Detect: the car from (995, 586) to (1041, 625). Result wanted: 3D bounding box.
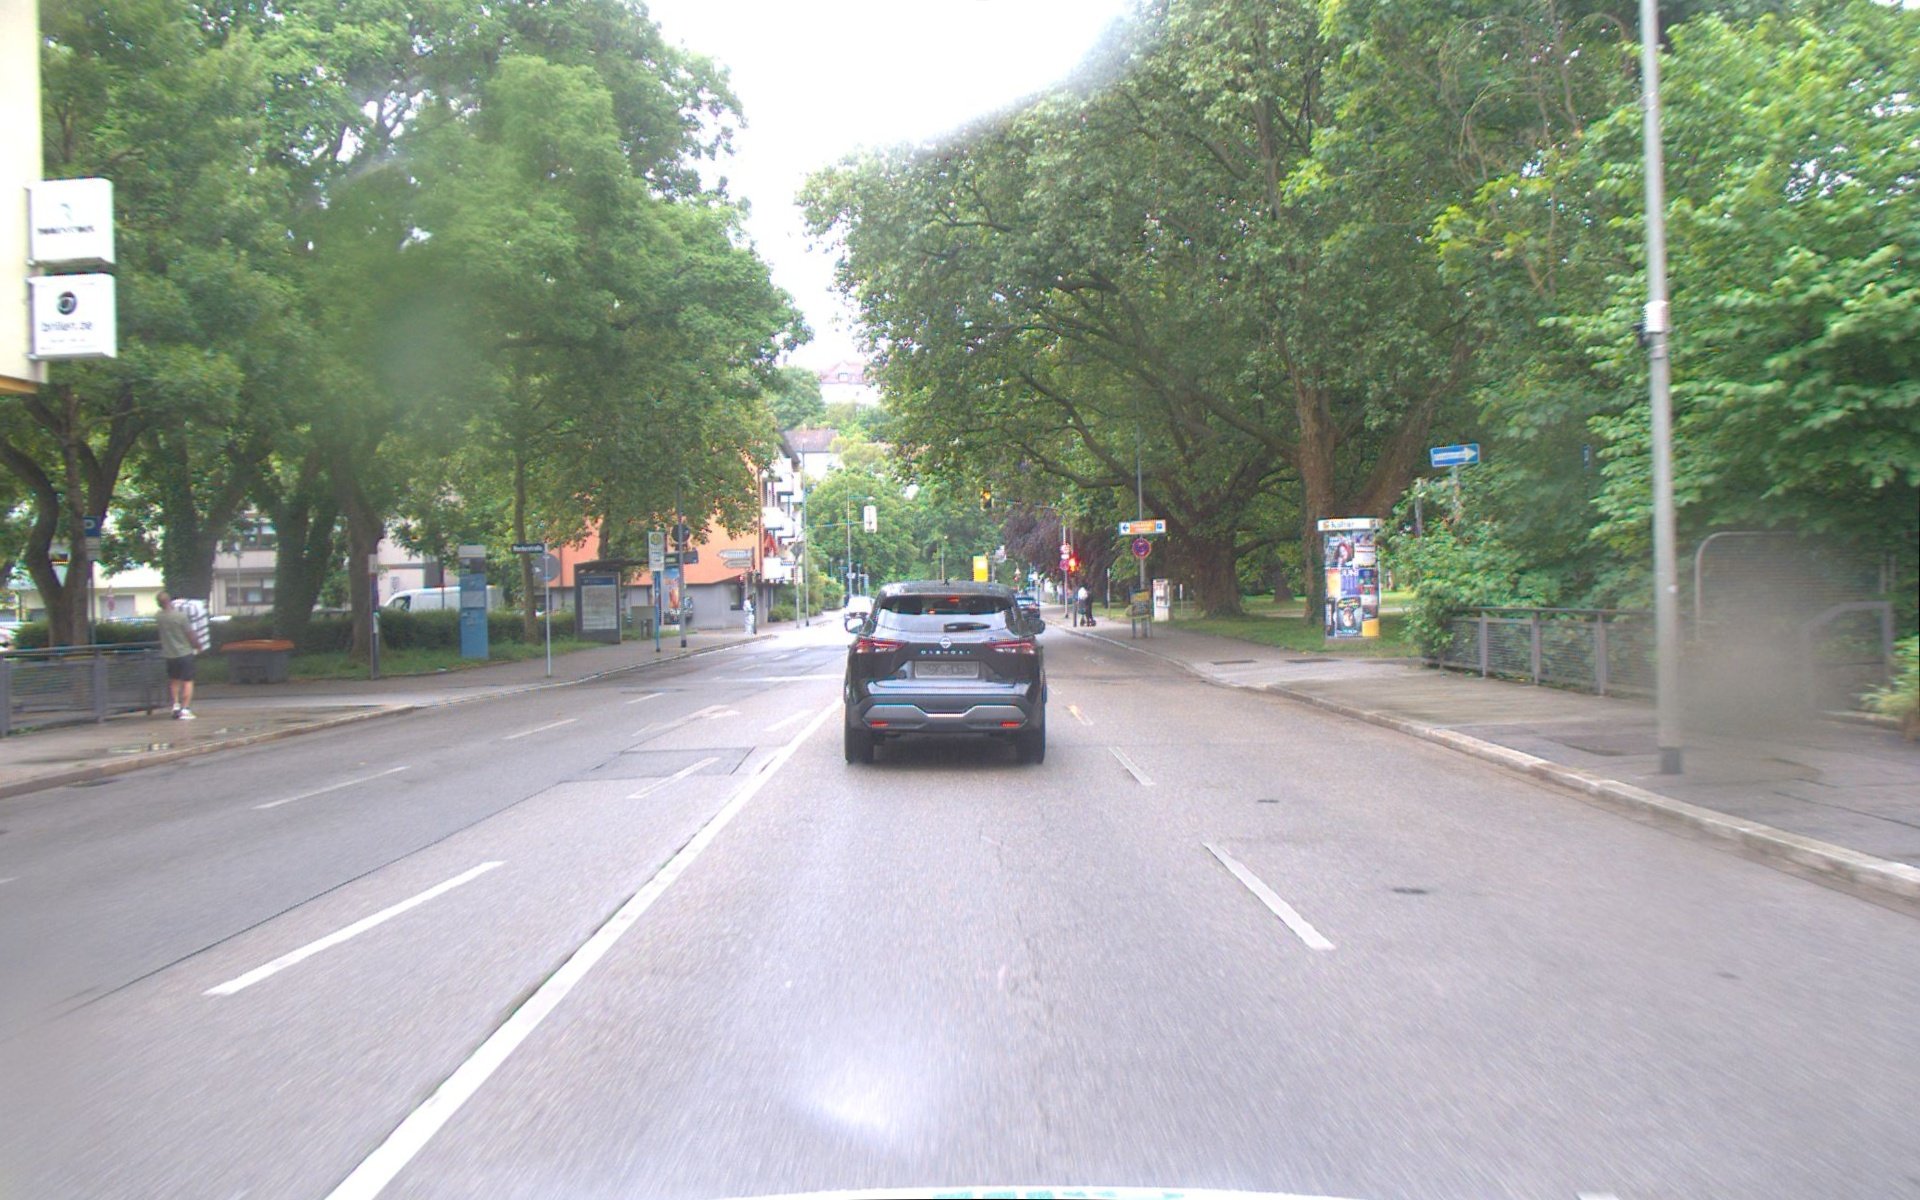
[{"bbox_3d":[2.748,0.278,77.896,1.951,1.765,4.002,1,0,5],"label":"car"}]

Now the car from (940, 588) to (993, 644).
[{"bbox_3d":[0.205,0.502,56.089,1.664,1.776,3.640,-2,0,0],"label":"car"}]

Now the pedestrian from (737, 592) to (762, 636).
[{"bbox_3d":[-9.369,0.629,73.581,1.017,1.908,0.656,-2,0,-12],"label":"pedestrian"}]

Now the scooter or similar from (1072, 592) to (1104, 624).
[{"bbox_3d":[5.937,0.365,76.821,1.364,1.471,0.818,-2,-1,12],"label":"scooter or similar"}]

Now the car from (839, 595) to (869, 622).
[{"bbox_3d":[-6.418,0.507,100.224,1.760,1.560,3.864,-2,0,-4],"label":"car"}]

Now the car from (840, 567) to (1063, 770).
[{"bbox_3d":[-0.066,0.569,15.918,1.874,1.709,4.000,0,0,0],"label":"car"}]

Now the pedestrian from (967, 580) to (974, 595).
[{"bbox_3d":[1.212,-1.416,188.244,0.498,1.702,0.658,-2,0,28],"label":"pedestrian"}]

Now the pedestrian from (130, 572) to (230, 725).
[{"bbox_3d":[-10.336,0.629,21.950,0.800,1.958,0.920,-1,0,4],"label":"pedestrian"}]

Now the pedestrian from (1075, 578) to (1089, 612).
[{"bbox_3d":[7.361,-0.288,99.814,0.710,2.049,0.851,-2,0,0],"label":"pedestrian"}]

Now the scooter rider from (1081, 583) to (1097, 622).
[{"bbox_3d":[6.007,0.117,76.809,0.629,1.797,0.736,-1,-1,12],"label":"scooter rider"}]

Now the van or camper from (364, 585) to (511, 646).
[{"bbox_3d":[-18.280,0.529,58.003,4.503,1.983,1.999,-2,0,-2],"label":"van or camper"}]

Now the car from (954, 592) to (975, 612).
[{"bbox_3d":[0.368,0.144,132.816,1.601,1.559,3.967,-2,0,0],"label":"car"}]

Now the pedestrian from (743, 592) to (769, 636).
[{"bbox_3d":[-9.167,0.636,74.365,1.017,1.908,0.656,-2,0,-12],"label":"pedestrian"}]

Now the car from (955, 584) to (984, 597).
[{"bbox_3d":[1.271,-1.316,223.934,3.933,1.697,1.701,1,0,-2],"label":"car"}]
